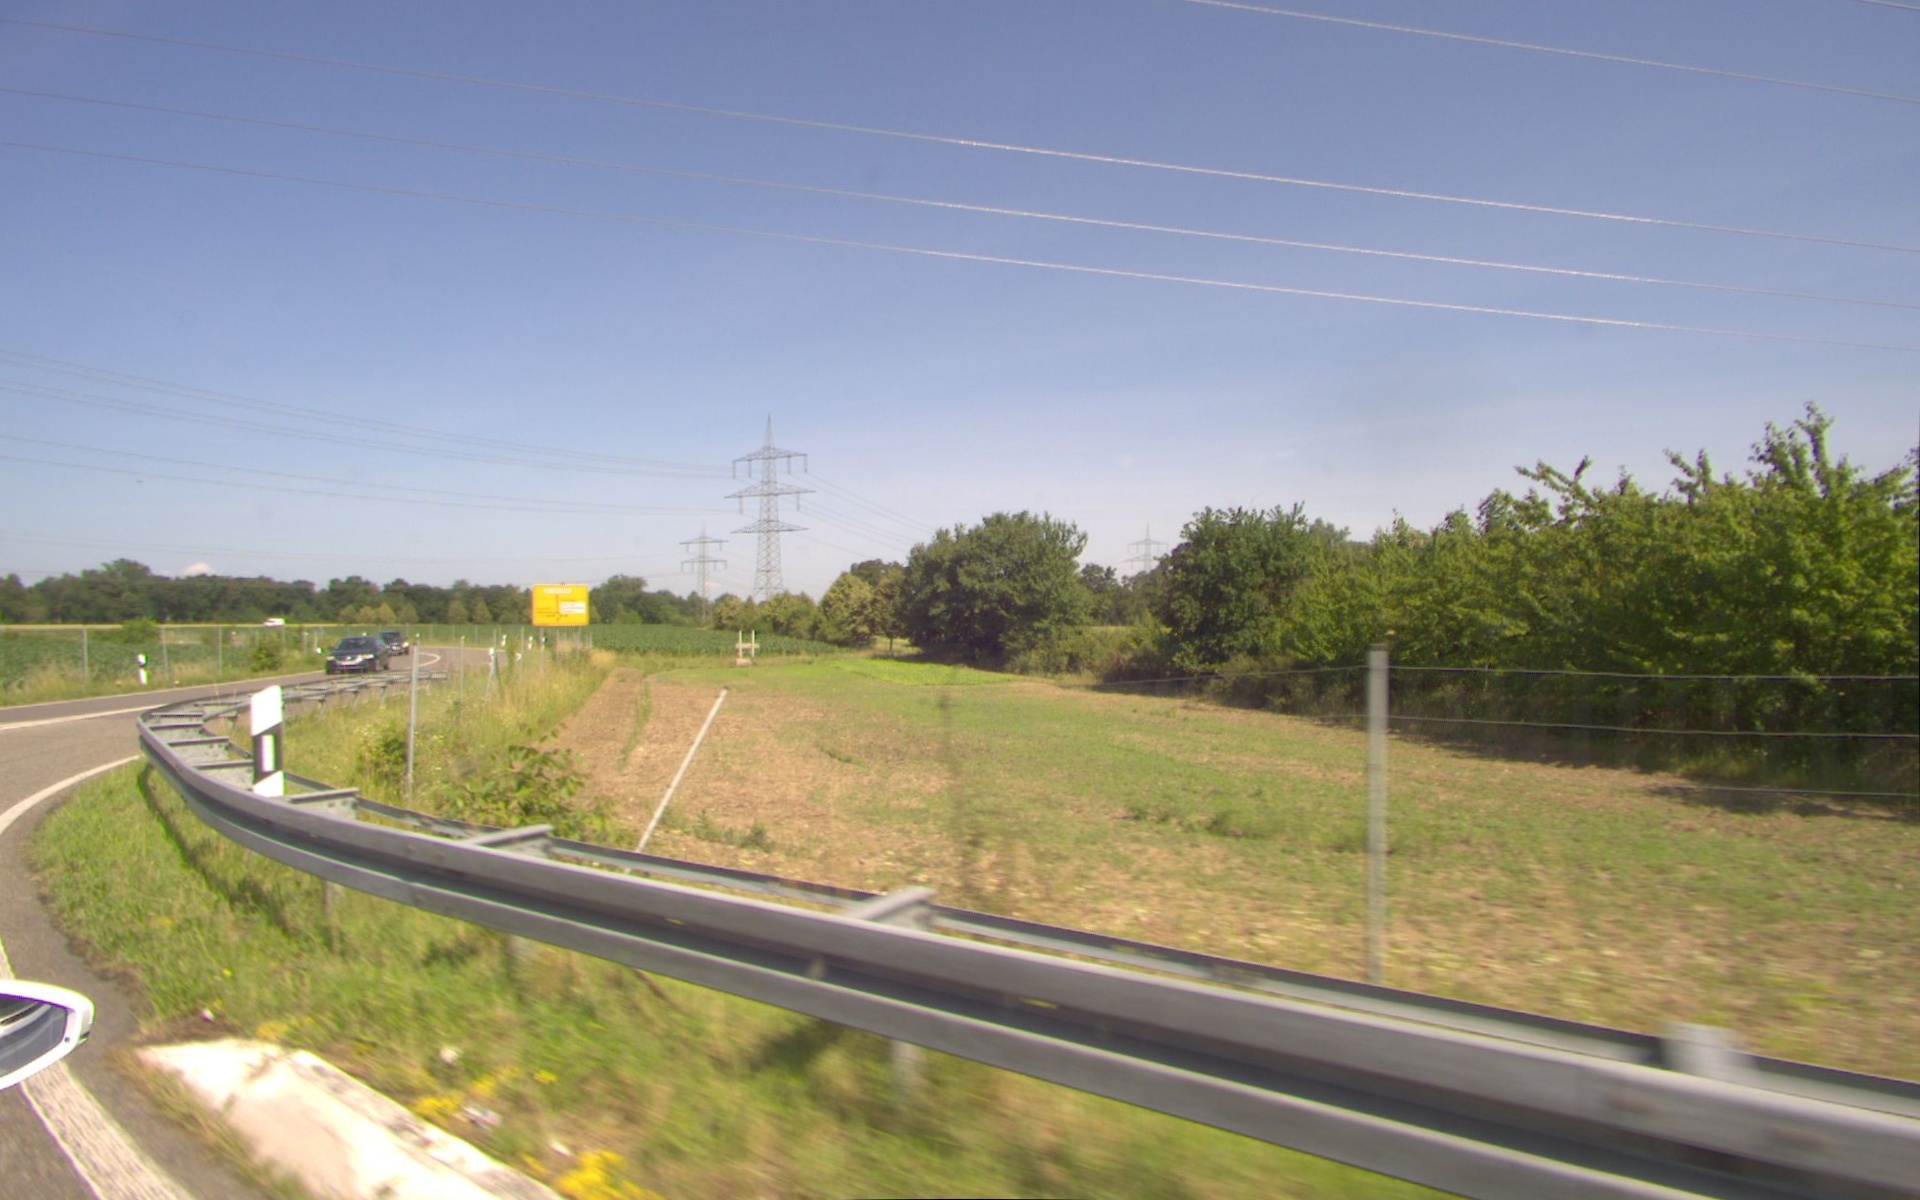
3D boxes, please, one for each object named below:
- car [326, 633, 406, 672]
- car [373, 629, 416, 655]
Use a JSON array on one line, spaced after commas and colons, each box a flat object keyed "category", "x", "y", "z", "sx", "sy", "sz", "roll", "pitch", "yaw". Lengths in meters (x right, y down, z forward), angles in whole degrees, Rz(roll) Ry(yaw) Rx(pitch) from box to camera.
[{"category": "car", "x": -24.118, "y": 2.095, "z": 40.813, "sx": 1.749, "sy": 1.475, "sz": 4.585, "roll": 1, "pitch": -2, "yaw": -17}, {"category": "car", "x": -39.137, "y": 2.888, "z": 69.303, "sx": 1.967, "sy": 1.728, "sz": 4.228, "roll": 2, "pitch": -2, "yaw": -38}]
